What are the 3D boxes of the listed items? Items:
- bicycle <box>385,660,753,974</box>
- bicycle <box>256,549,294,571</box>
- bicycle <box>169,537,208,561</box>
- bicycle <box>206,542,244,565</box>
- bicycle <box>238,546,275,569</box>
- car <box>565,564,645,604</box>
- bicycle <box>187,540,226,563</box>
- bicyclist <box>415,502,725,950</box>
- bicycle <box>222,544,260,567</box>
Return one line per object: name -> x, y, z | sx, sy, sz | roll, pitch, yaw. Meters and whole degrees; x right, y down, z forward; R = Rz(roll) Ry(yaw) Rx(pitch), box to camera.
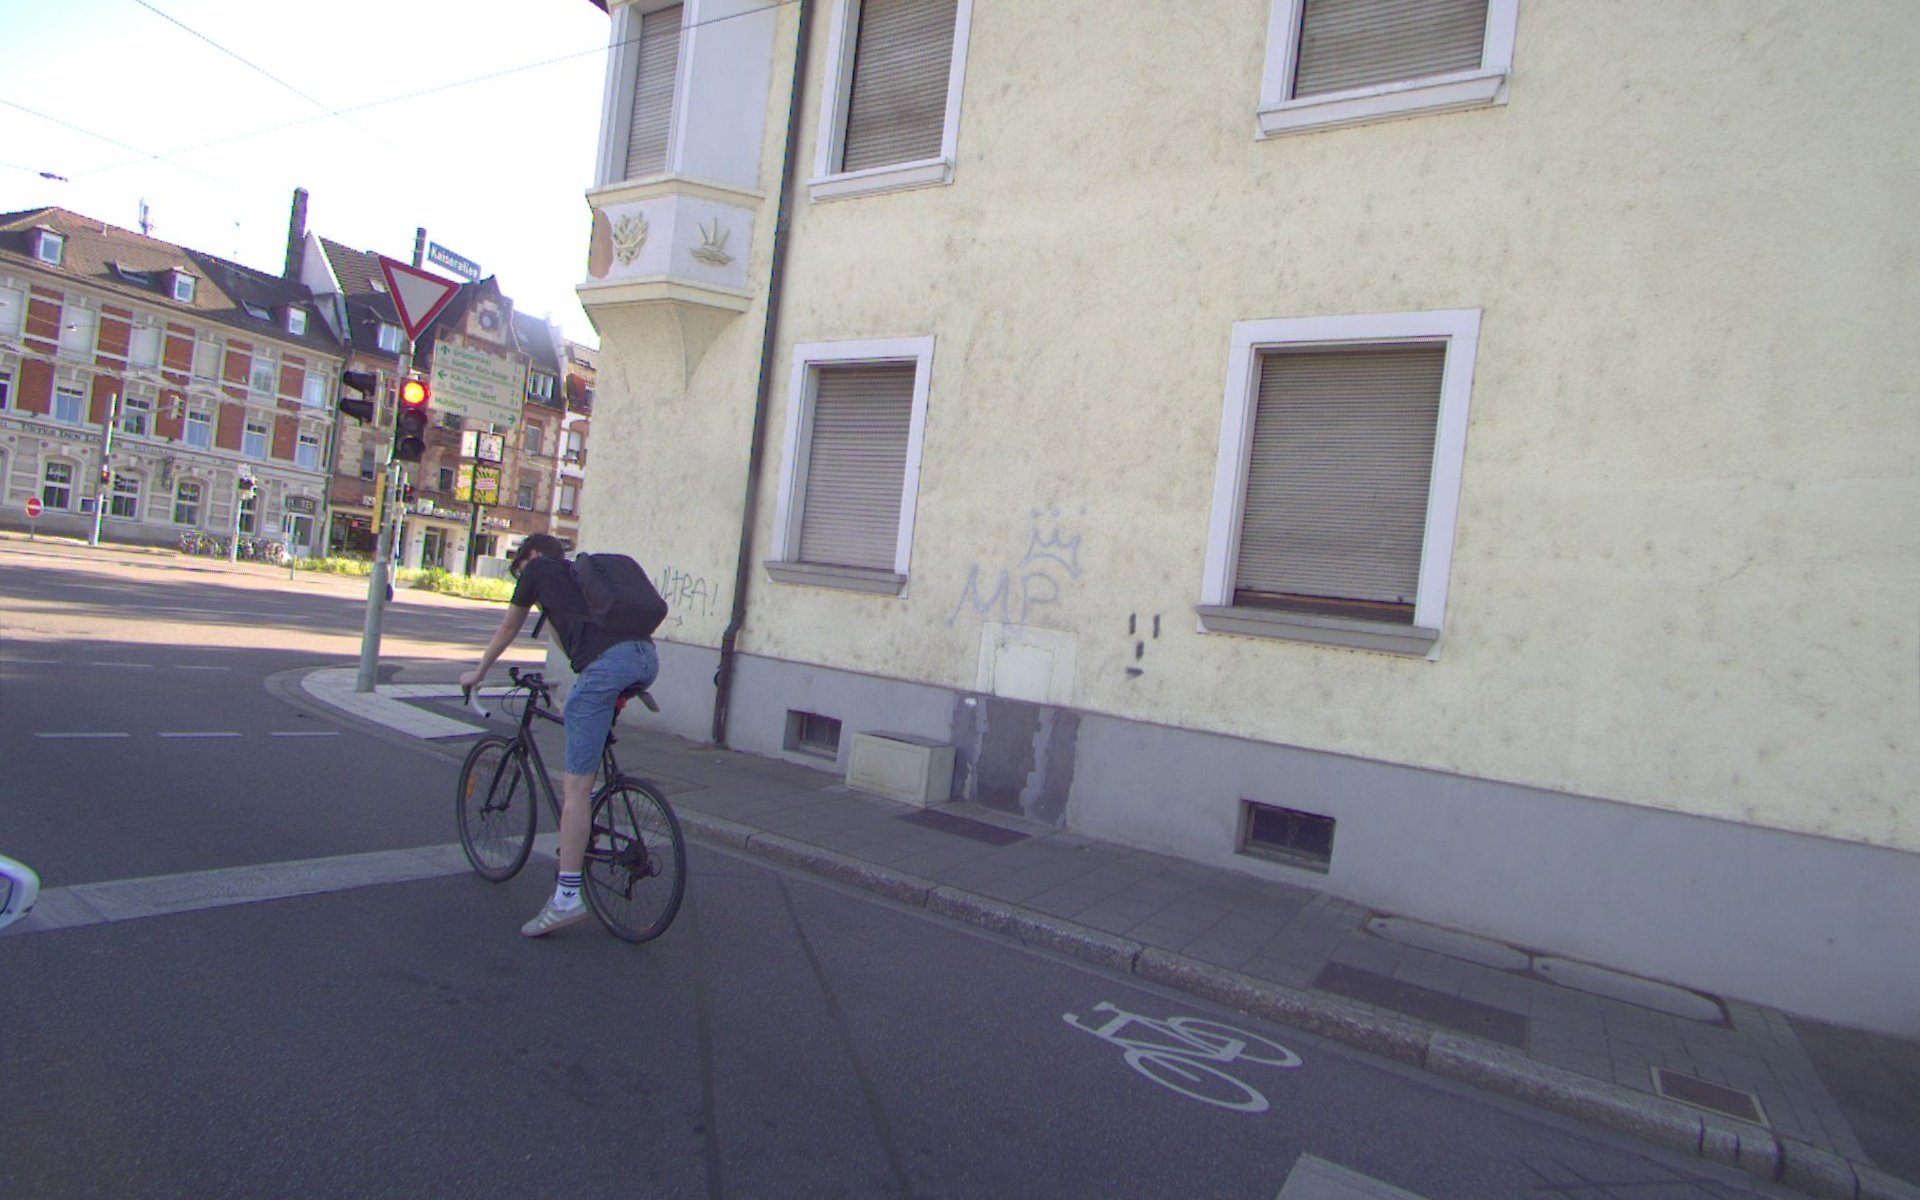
bicycle -> -1.794, 0.875, 4.505 | 1.721, 0.982, 0.519 | 7, 0, 32
bicycle -> -33.106, -1.944, 48.595 | 2.125, 0.850, 0.659 | 6, -2, 33
bicycle -> -34.873, -2.302, 45.475 | 2.125, 0.850, 0.659 | 6, -2, 33
bicycle -> -34.184, -2.159, 46.763 | 2.125, 0.850, 0.659 | 6, -2, 33
bicycle -> -33.494, -2.024, 47.890 | 2.125, 0.850, 0.659 | 6, -2, 33
car -> -23.016, -1.002, 65.321 | 1.968, 2.038, 4.430 | 7, -1, 34
bicycle -> -34.557, -2.233, 46.142 | 2.125, 0.850, 0.659 | 6, -2, 33
bicyclist -> -1.746, 0.491, 4.484 | 1.098, 1.722, 0.573 | 7, 0, 32
bicycle -> -33.850, -2.092, 47.360 | 2.125, 0.850, 0.659 | 6, -2, 33
